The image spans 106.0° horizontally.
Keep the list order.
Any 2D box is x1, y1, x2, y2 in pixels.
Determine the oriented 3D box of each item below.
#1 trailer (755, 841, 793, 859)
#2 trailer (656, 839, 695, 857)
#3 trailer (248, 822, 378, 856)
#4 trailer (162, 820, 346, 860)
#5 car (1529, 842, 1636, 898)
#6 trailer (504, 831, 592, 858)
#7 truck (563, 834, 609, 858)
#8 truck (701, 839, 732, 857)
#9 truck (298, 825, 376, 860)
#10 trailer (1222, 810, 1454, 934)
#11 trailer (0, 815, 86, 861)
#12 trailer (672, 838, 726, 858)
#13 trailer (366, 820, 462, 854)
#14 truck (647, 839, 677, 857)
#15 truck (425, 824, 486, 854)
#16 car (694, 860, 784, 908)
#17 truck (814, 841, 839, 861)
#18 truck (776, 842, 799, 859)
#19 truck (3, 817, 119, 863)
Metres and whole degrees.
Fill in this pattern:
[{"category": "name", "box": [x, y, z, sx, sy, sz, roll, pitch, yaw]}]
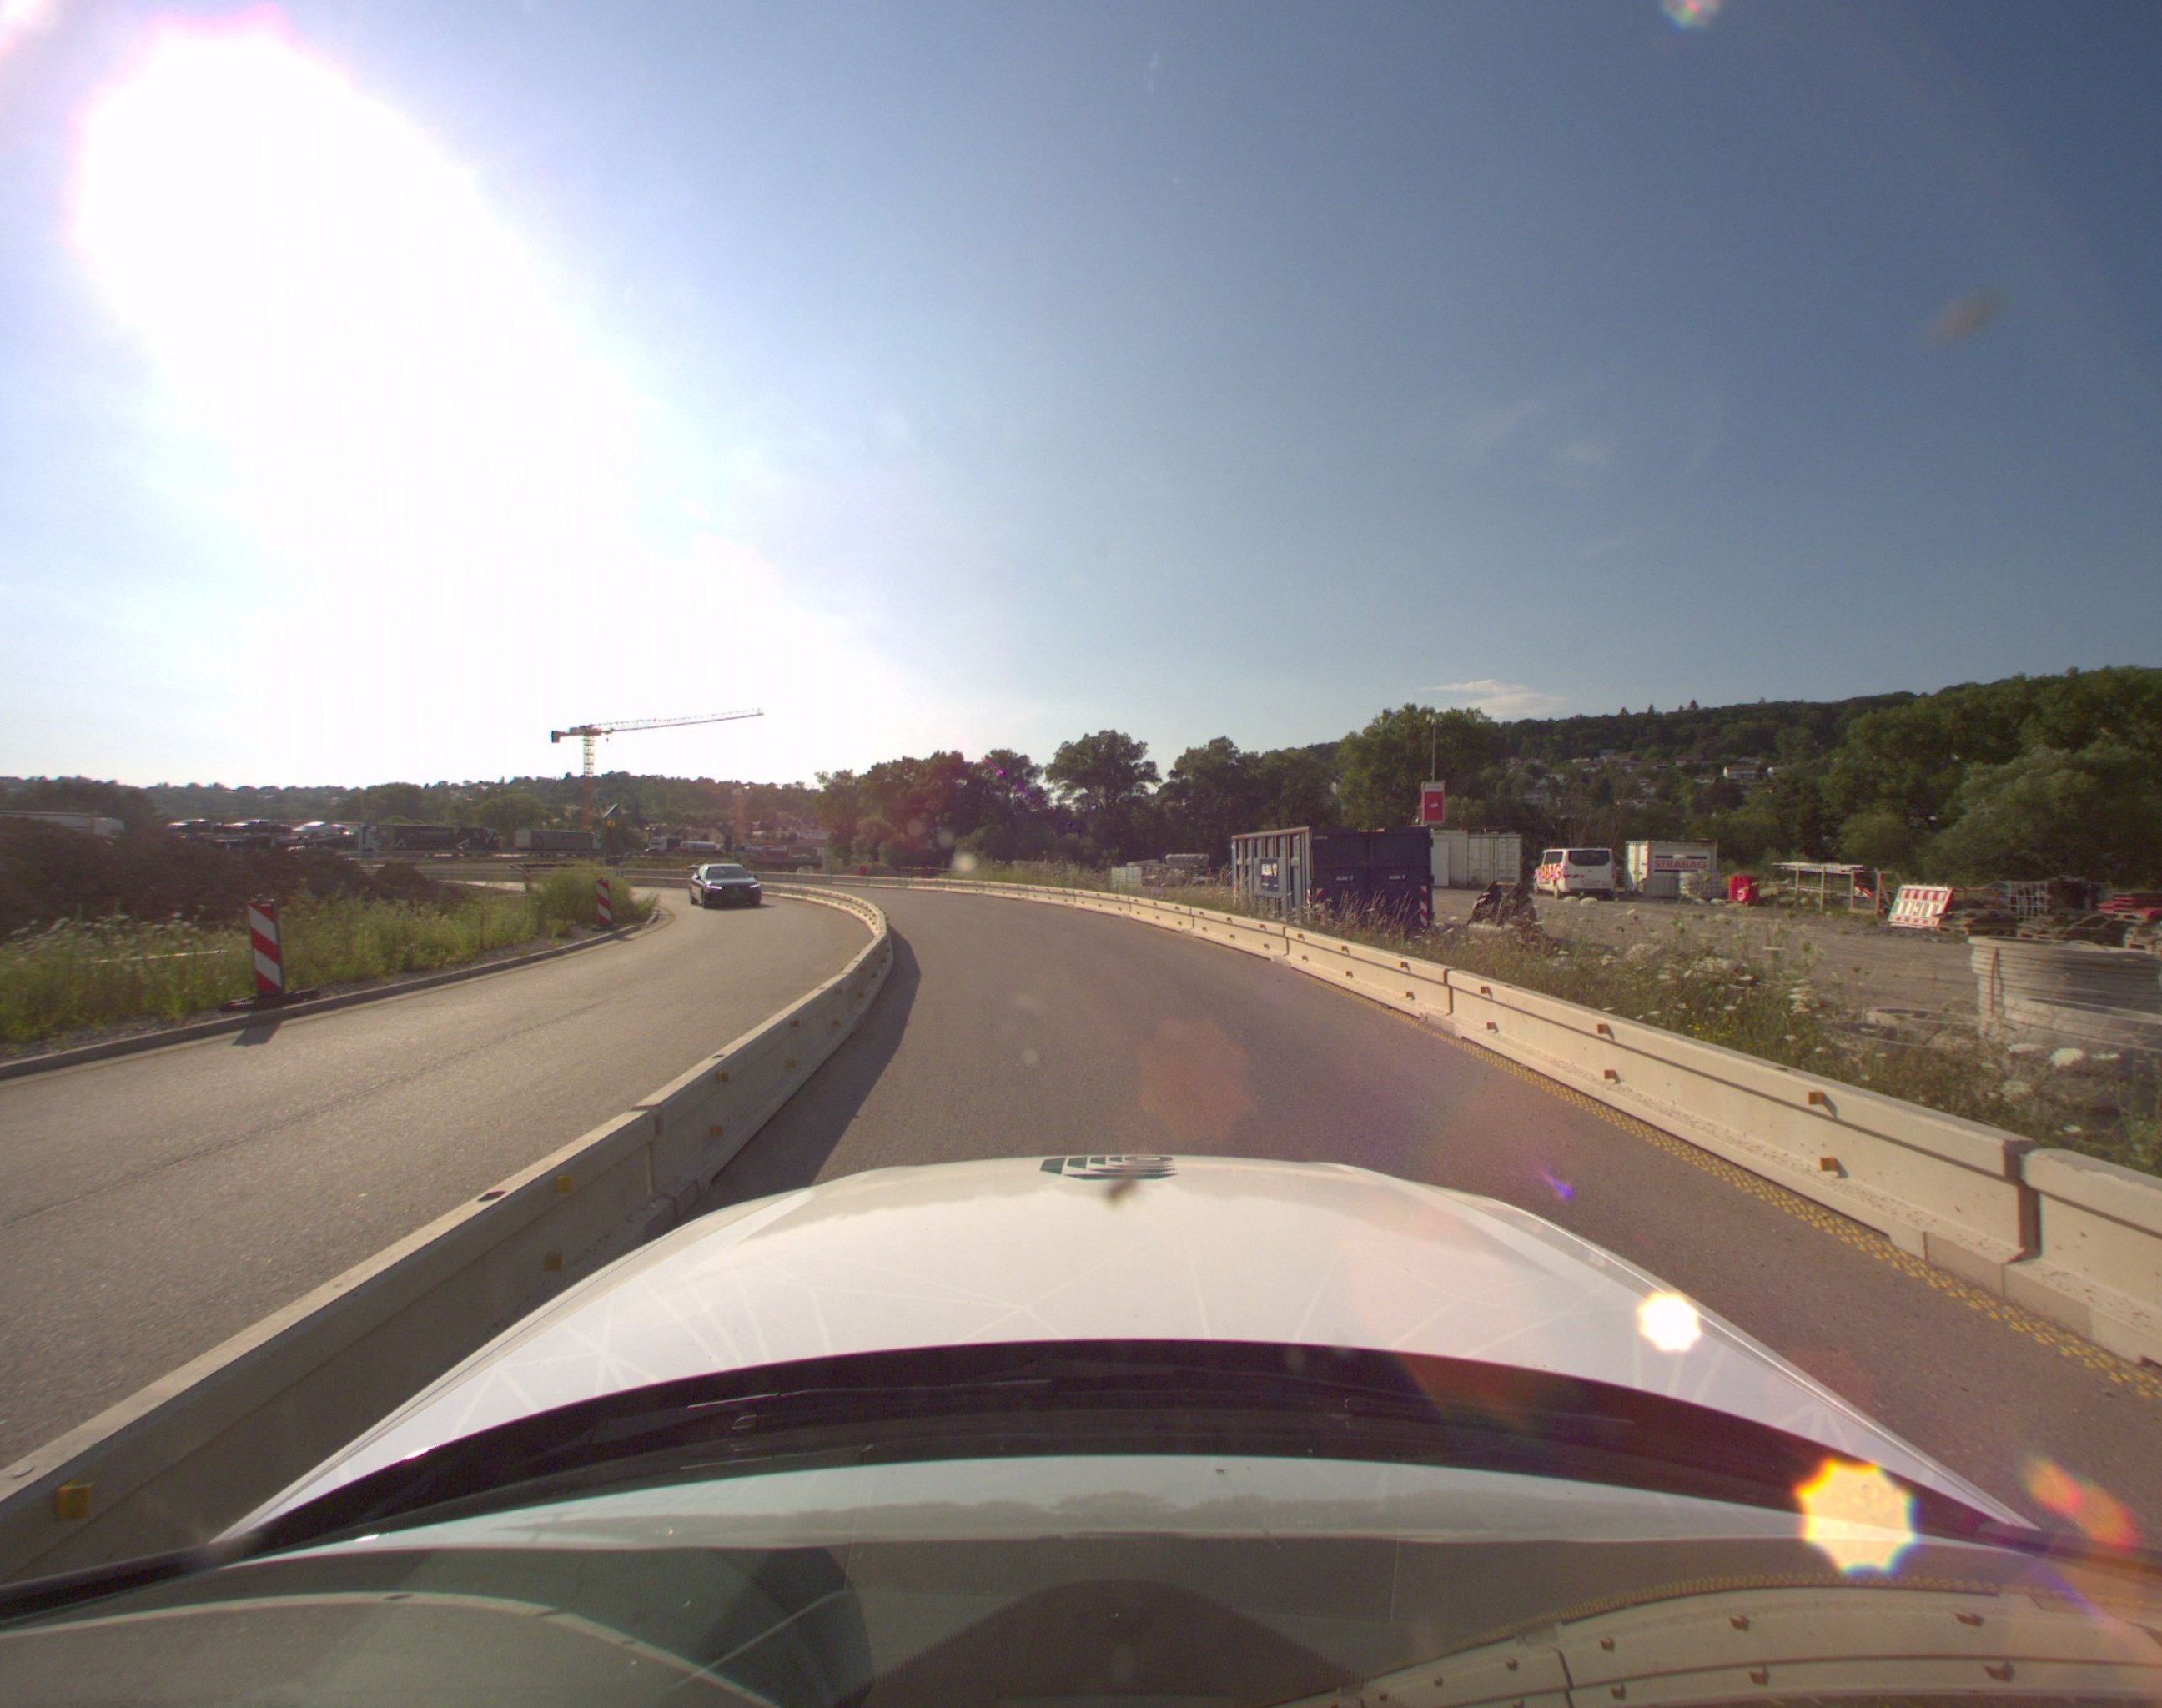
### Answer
[{"category": "trailer", "box": [-78.490, -1.001, 208.714, 3.089, 4.314, 14.270, 1, 0, 5]}, {"category": "trailer", "box": [-89.822, -1.236, 180.420, 2.991, 3.752, 9.586, 0, -1, 6]}, {"category": "trailer", "box": [-98.349, -1.824, 104.843, 2.843, 3.996, 13.494, 1, 0, 5]}, {"category": "trailer", "box": [-89.685, -1.324, 89.176, 2.843, 3.996, 15.767, 1, 0, 5]}, {"category": "car", "box": [20.247, 0.619, 33.186, 2.460, 2.079, 5.343, -1, -1, 17]}, {"category": "trailer", "box": [-85.797, -1.428, 131.741, 3.369, 3.996, 14.764, 1, 0, 5]}, {"category": "truck", "box": [-85.110, -1.367, 140.227, 3.327, 3.996, 6.633, 1, -1, 5]}, {"category": "truck", "box": [-81.298, -1.280, 181.601, 3.374, 3.996, 6.633, 1, -1, 5]}, {"category": "truck", "box": [-88.950, -1.303, 97.546, 2.835, 3.996, 6.633, 1, -1, 5]}, {"category": "trailer", "box": [5.730, 0.397, 19.745, 2.997, 2.414, 7.219, 1, -1, -4]}, {"category": "trailer", "box": [-91.629, -1.360, 66.755, 2.469, 3.878, 13.648, 1, 0, 5]}, {"category": "trailer", "box": [-81.865, -1.282, 175.136, 3.369, 3.996, 14.764, 1, 0, 5]}, {"category": "trailer", "box": [-87.915, -2.117, 107.698, 2.944, 4.092, 10.811, 0, -1, 6]}, {"category": "truck", "box": [-90.321, -1.293, 175.664, 2.982, 3.727, 5.696, 0, -1, 5]}, {"category": "truck", "box": [-87.308, -2.057, 113.793, 2.870, 3.996, 6.635, 1, -1, 6]}, {"category": "car", "box": [-12.202, 1.044, 28.929, 1.724, 1.519, 4.462, -1, -1, -39]}, {"category": "truck", "box": [-75.319, -0.773, 241.531, 3.148, 5.871, 10.693, 0, -1, 6]}, {"category": "truck", "box": [-77.844, -0.965, 216.004, 3.083, 4.285, 6.633, 1, -1, 5]}, {"category": "truck", "box": [-91.080, -1.168, 72.900, 2.469, 3.878, 6.019, 1, -1, 5]}]
